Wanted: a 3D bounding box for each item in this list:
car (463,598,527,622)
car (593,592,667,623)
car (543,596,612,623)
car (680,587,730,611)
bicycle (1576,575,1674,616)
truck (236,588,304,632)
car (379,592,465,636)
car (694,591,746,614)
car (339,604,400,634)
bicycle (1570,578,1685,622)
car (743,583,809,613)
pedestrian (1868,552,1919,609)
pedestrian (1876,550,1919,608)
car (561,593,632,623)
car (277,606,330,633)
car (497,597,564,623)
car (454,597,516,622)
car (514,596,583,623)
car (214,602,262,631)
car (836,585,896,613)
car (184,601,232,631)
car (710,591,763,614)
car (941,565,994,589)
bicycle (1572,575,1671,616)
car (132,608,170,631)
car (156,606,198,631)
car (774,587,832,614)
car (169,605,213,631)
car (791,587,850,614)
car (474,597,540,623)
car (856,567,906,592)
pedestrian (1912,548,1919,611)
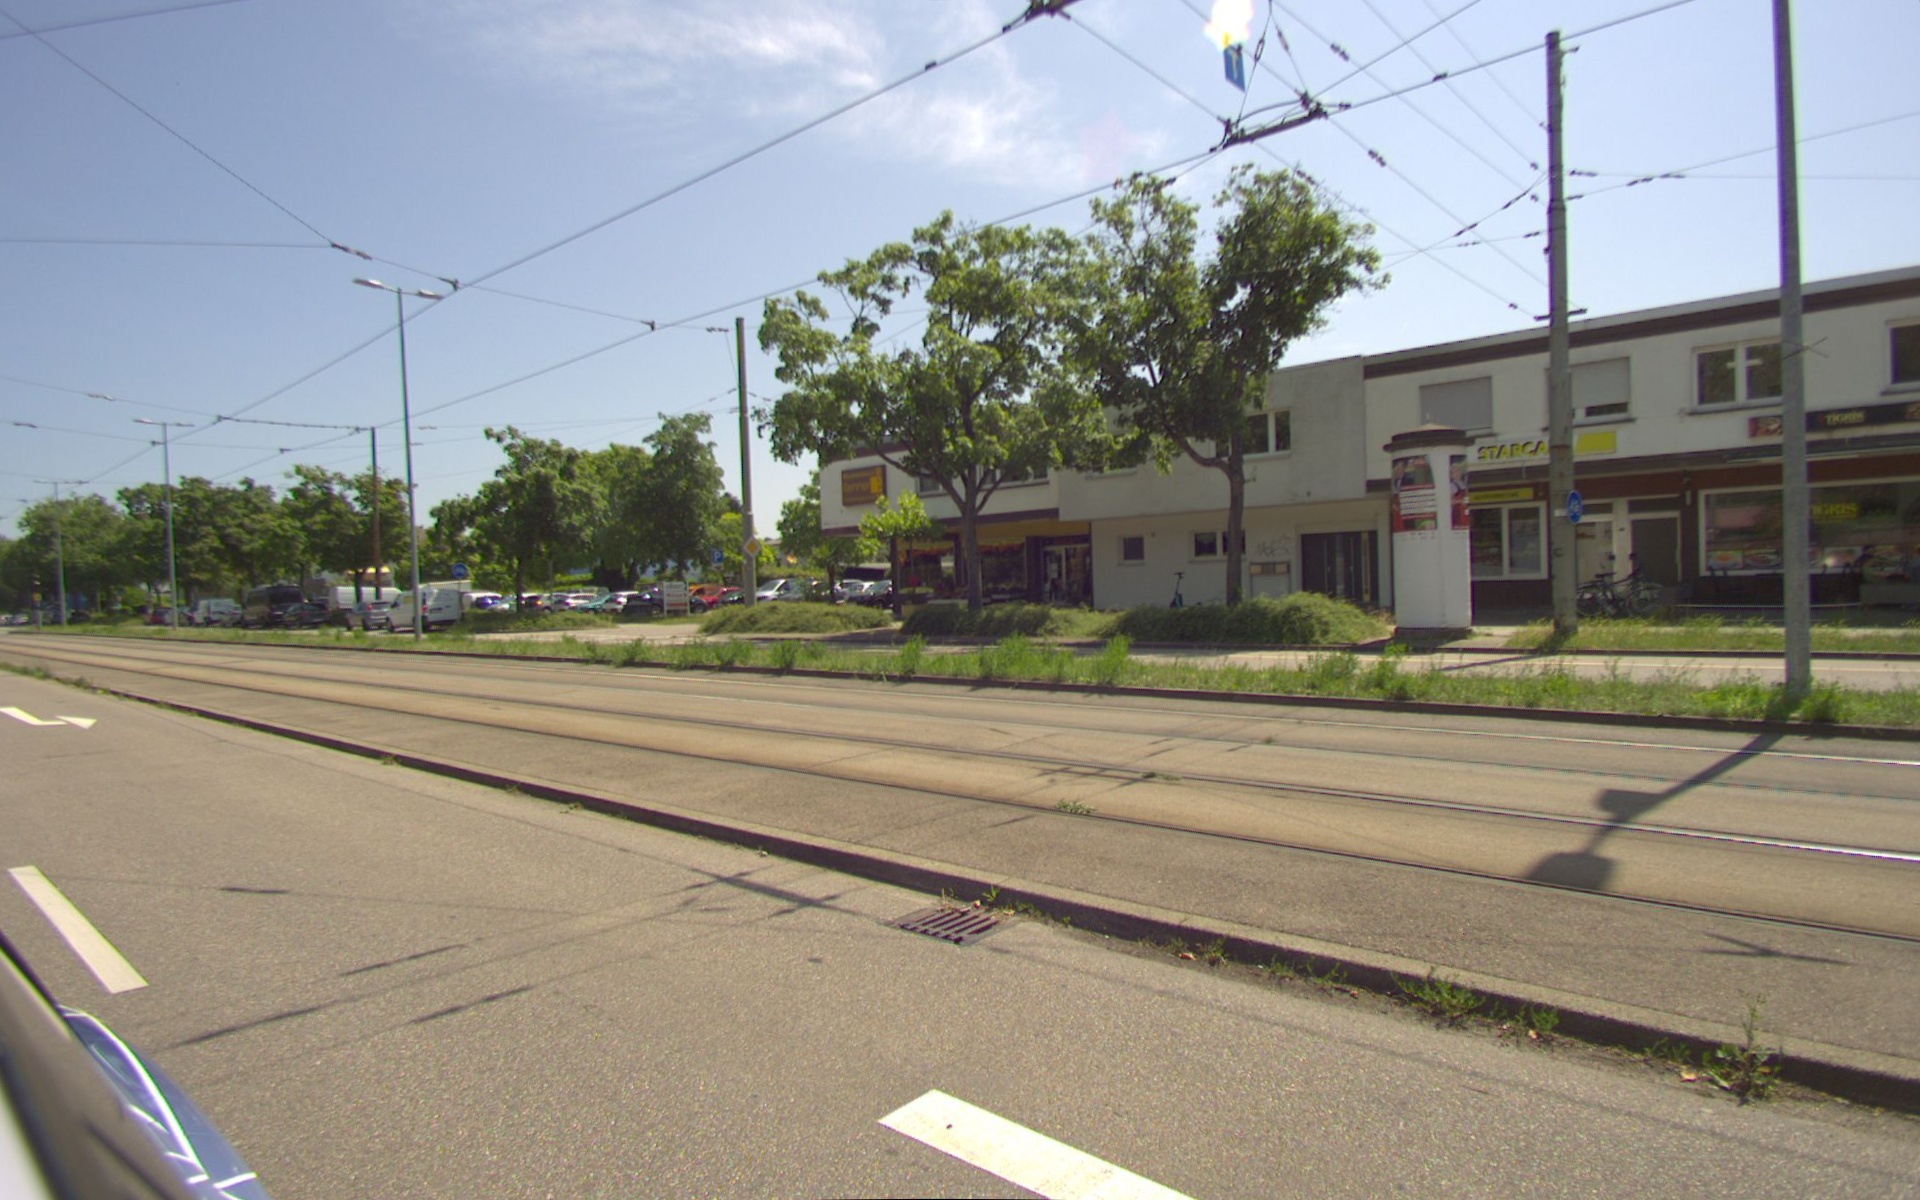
[{"bbox_3d":[-29.814,0.629,64.927,1.600,1.404,3.375,-1,1,35],"label":"car"},{"bbox_3d":[-17.864,0.391,54.850,1.790,1.502,3.375,-1,1,35],"label":"car"},{"bbox_3d":[-21.879,0.529,57.946,1.600,1.404,3.375,-1,1,35],"label":"car"},{"bbox_3d":[-18.503,-0.083,73.559,1.504,1.573,3.315,-1,1,38],"label":"car"},{"bbox_3d":[15.111,-0.095,23.020,1.786,0.854,0.523,-1,3,41],"label":"bicycle"},{"bbox_3d":[-42.126,0.608,61.761,4.926,2.560,2.197,-1,1,41],"label":"truck"},{"bbox_3d":[-25.055,0.636,47.068,4.659,1.897,1.973,-1,1,41],"label":"car"},{"bbox_3d":[-16.907,0.158,71.358,1.504,1.469,3.315,-1,1,38],"label":"car"},{"bbox_3d":[-29.876,0.966,51.168,3.568,1.397,1.653,-1,1,43],"label":"car"},{"bbox_3d":[14.138,0.011,21.462,1.958,0.854,0.596,-1,3,41],"label":"bicycle"},{"bbox_3d":[-11.886,-0.133,65.524,1.811,1.798,3.950,-1,1,38],"label":"car"},{"bbox_3d":[19.270,-0.396,20.840,0.810,1.136,0.558,-1,1,41],"label":"pedestrian"},{"bbox_3d":[19.776,-0.440,21.316,0.674,1.172,0.512,-1,1,41],"label":"pedestrian"},{"bbox_3d":[-20.030,0.448,55.913,1.595,1.502,3.375,-1,1,35],"label":"car"},{"bbox_3d":[-37.499,1.115,57.743,3.669,1.397,1.653,-1,1,43],"label":"car"},{"bbox_3d":[-26.012,0.581,61.309,1.600,1.404,3.375,-1,1,35],"label":"car"},{"bbox_3d":[-31.470,0.593,67.099,1.600,1.517,3.375,-1,1,35],"label":"car"},{"bbox_3d":[-23.954,0.556,58.986,1.600,1.404,3.375,-1,1,35],"label":"car"},{"bbox_3d":[-48.218,1.109,67.525,3.866,1.807,1.660,-1,1,40],"label":"car"},{"bbox_3d":[-5.640,-0.047,61.019,1.622,1.548,3.450,-1,1,38],"label":"car"},{"bbox_3d":[-52.635,1.149,70.849,4.506,1.989,1.660,-1,1,40],"label":"car"},{"bbox_3d":[-15.301,0.172,69.445,1.504,1.400,3.315,-1,1,38],"label":"car"},{"bbox_3d":[0.584,-1.810,78.555,2.000,1.785,3.944,-1,1,42],"label":"car"},{"bbox_3d":[14.739,-0.086,22.581,1.786,0.854,0.523,-1,3,41],"label":"bicycle"},{"bbox_3d":[-65.464,1.573,81.903,3.820,1.716,1.660,-1,1,40],"label":"car"},{"bbox_3d":[-60.286,1.401,77.860,4.199,1.807,1.660,-2,0,40],"label":"car"},{"bbox_3d":[-9.920,0.024,64.125,1.532,1.548,3.450,-1,1,37],"label":"car"},{"bbox_3d":[-57.009,1.353,75.032,4.199,1.807,1.660,-1,1,40],"label":"car"},{"bbox_3d":[-8.526,0.023,61.971,1.622,1.548,3.450,-1,1,38],"label":"car"},{"bbox_3d":[-28.001,0.606,62.681,1.600,1.404,3.375,-1,1,35],"label":"car"},{"bbox_3d":[-6.815,-1.816,87.498,2.000,2.029,3.944,-1,1,42],"label":"car"},{"bbox_3d":[19.231,-0.411,20.034,0.491,1.248,0.569,-1,1,40],"label":"pedestrian"}]
